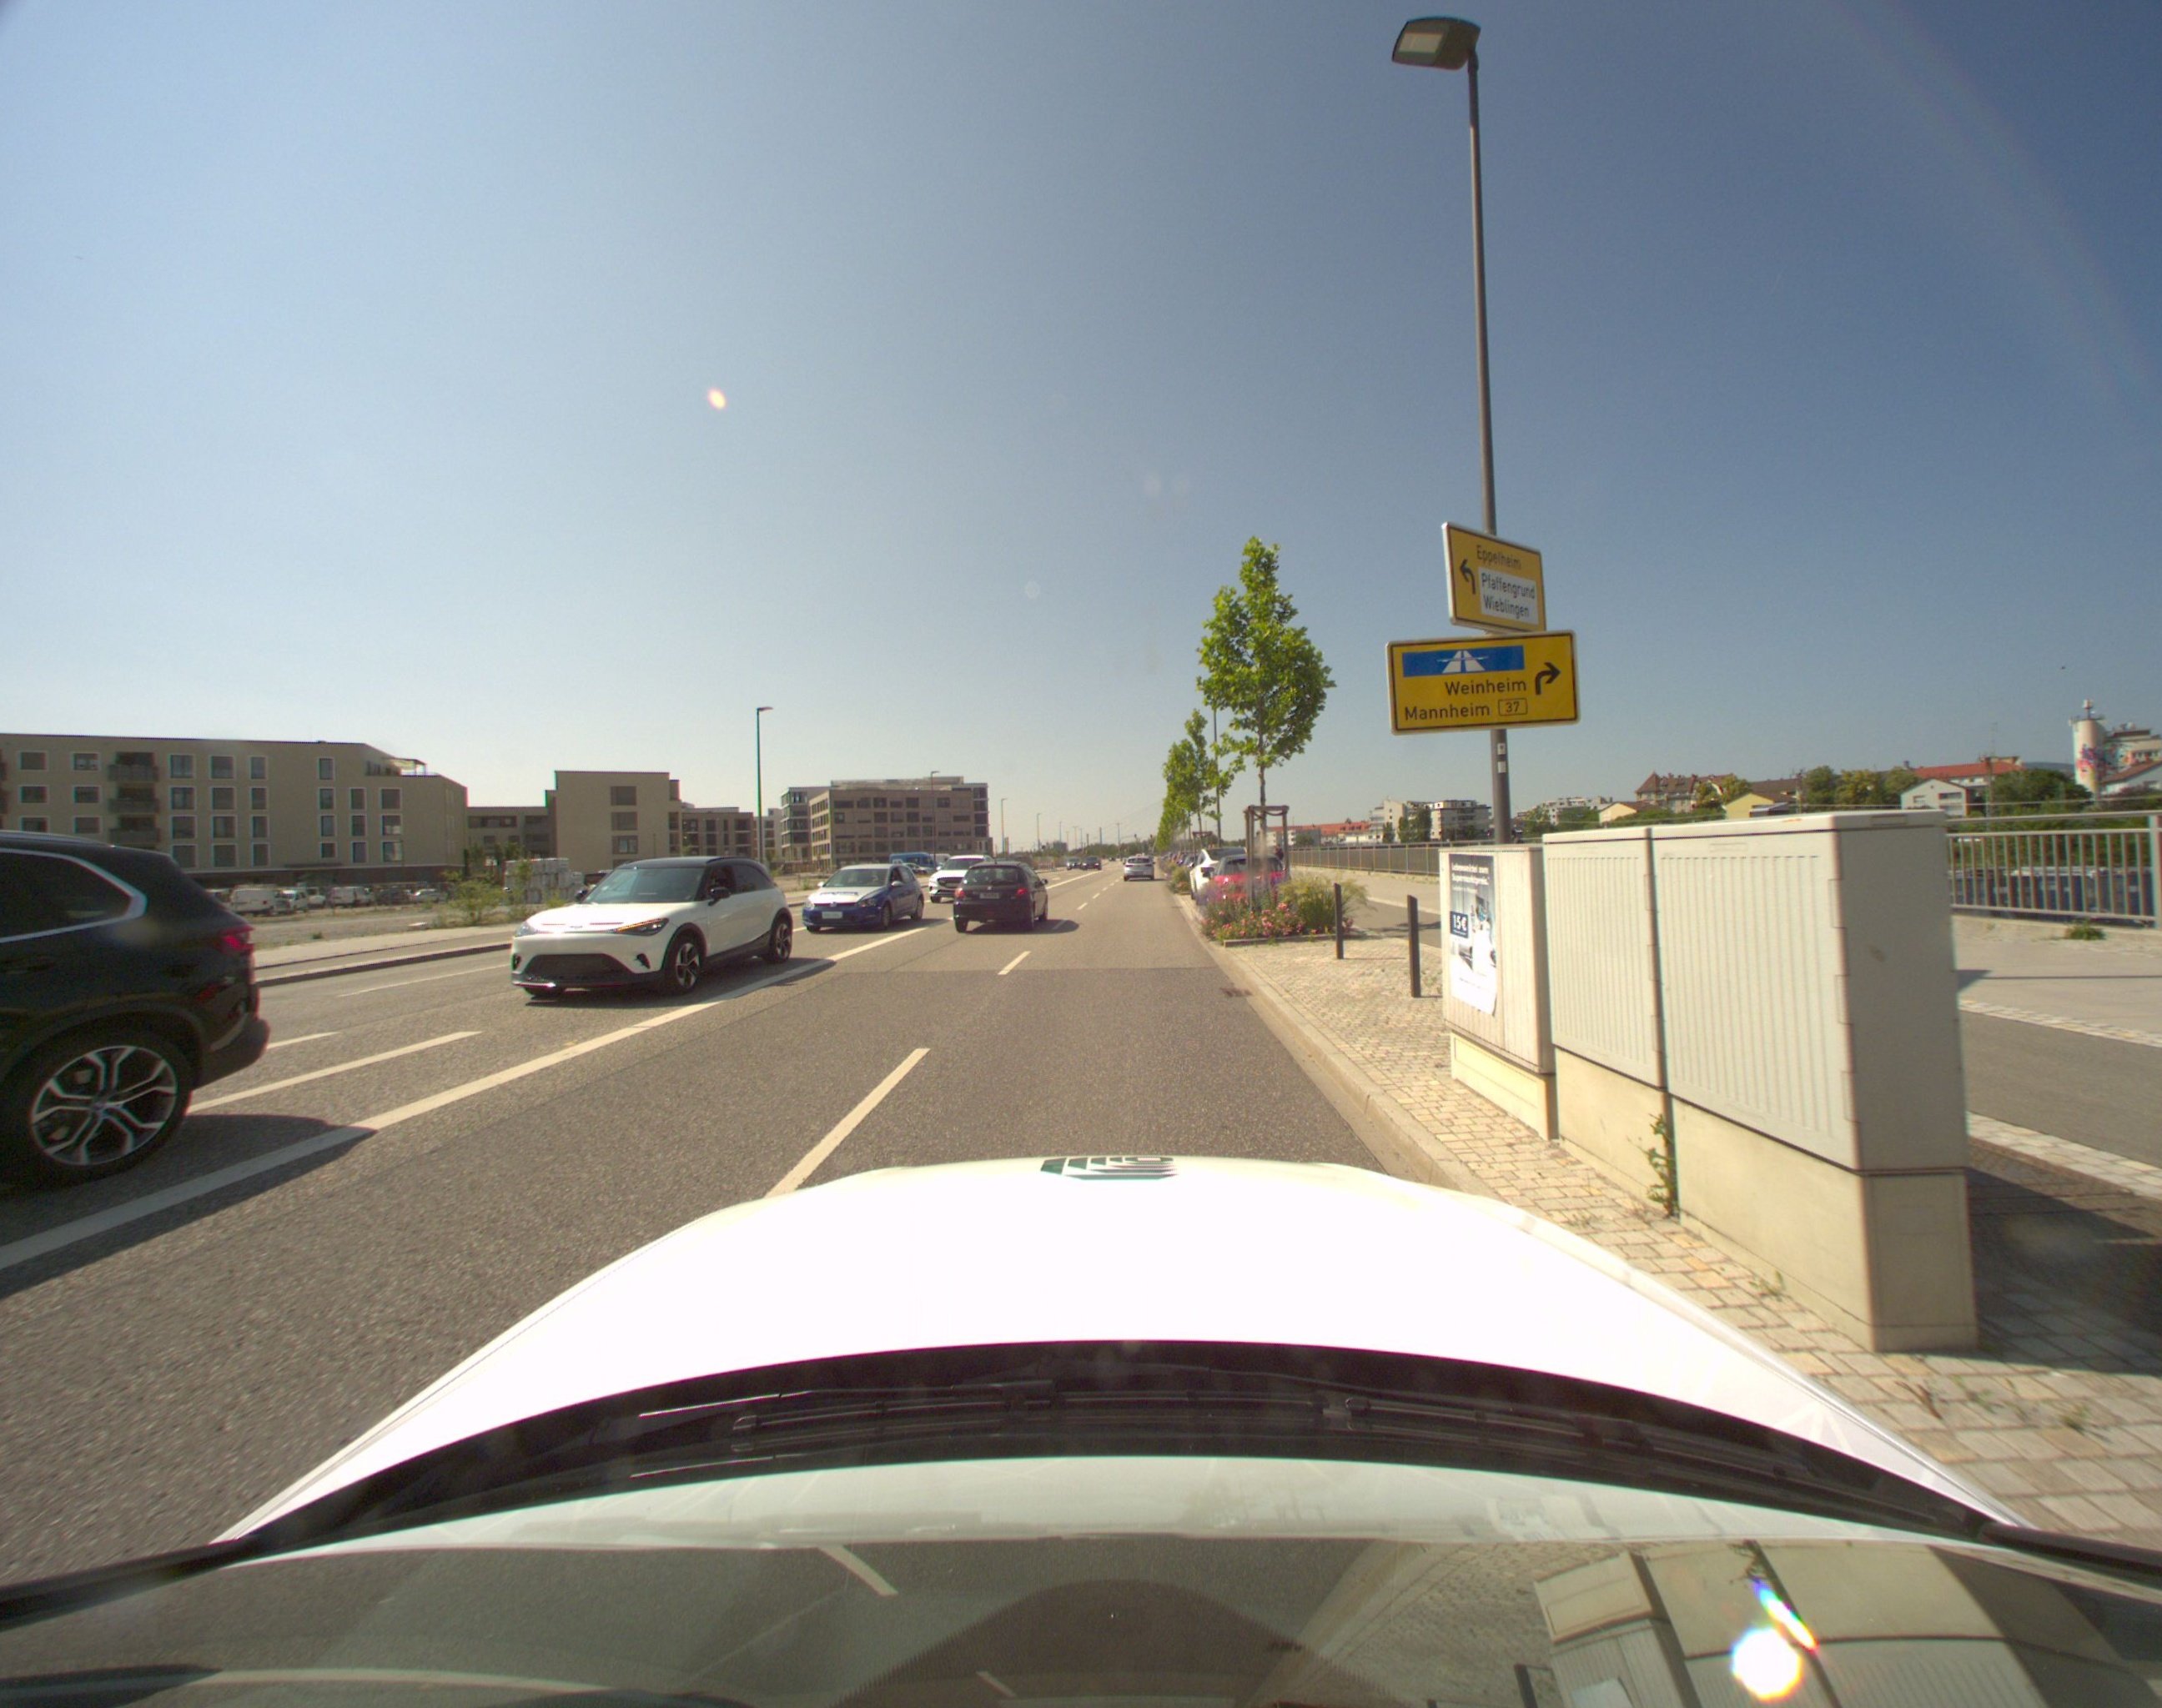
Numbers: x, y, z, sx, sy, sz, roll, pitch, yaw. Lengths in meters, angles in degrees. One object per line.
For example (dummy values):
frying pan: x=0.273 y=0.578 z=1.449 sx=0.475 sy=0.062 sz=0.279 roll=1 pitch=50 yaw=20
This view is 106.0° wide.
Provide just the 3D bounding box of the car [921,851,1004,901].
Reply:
car: x=-4.202 y=0.748 z=29.686 sx=1.904 sy=1.650 sz=4.737 roll=-1 pitch=-1 yaw=5

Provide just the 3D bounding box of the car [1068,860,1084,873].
car: x=-0.614 y=1.514 z=98.490 sx=1.787 sy=1.416 sz=4.000 roll=0 pitch=-2 yaw=1

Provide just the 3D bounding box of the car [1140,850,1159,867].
car: x=6.701 y=0.431 z=79.450 sx=1.769 sy=1.569 sz=4.007 roll=-1 pitch=-2 yaw=7

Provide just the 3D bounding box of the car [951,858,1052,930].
car: x=-1.636 y=0.819 z=17.998 sx=1.612 sy=1.416 sz=3.731 roll=-1 pitch=-1 yaw=4

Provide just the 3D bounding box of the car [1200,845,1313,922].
car: x=3.789 y=0.595 z=18.266 sx=1.984 sy=1.519 sz=4.005 roll=-1 pitch=0 yaw=5

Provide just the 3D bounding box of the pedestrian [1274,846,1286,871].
pedestrian: x=13.733 y=0.285 z=56.272 sx=0.728 sy=1.705 sz=0.652 roll=-1 pitch=-2 yaw=5

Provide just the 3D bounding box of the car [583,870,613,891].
car: x=-45.514 y=2.486 z=76.801 sx=2.003 sy=1.849 sz=3.968 roll=-1 pitch=0 yaw=-24

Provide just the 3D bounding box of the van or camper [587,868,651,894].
van or camper: x=-50.962 y=2.933 z=89.927 sx=5.956 sy=2.559 sz=1.914 roll=-2 pitch=-1 yaw=-36

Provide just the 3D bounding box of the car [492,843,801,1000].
car: x=-5.394 y=0.725 z=10.832 sx=1.771 sy=1.682 sz=4.101 roll=0 pitch=0 yaw=2

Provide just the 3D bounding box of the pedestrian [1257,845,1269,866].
pedestrian: x=14.625 y=0.105 z=65.485 sx=0.777 sy=1.705 sz=0.743 roll=-1 pitch=-1 yaw=5

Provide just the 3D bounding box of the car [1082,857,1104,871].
car: x=1.264 y=1.067 z=85.064 sx=1.778 sy=1.398 sz=4.579 roll=-1 pitch=-1 yaw=6

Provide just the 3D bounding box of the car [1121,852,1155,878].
car: x=3.437 y=0.652 z=48.362 sx=1.768 sy=1.442 sz=4.008 roll=-1 pitch=-1 yaw=7

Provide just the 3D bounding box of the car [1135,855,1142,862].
car: x=15.082 y=1.158 z=212.651 sx=1.846 sy=1.650 sz=4.005 roll=0 pitch=-1 yaw=5

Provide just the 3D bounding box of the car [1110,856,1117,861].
car: x=8.677 y=1.254 z=216.329 sx=1.696 sy=1.352 sz=4.462 roll=-3 pitch=-1 yaw=5

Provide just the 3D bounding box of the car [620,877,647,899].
car: x=-42.889 y=3.231 z=78.117 sx=2.003 sy=1.849 sz=3.968 roll=-1 pitch=0 yaw=-24

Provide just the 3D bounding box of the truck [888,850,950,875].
truck: x=-16.788 y=0.928 z=84.743 sx=5.982 sy=2.543 sz=2.276 roll=0 pitch=-1 yaw=1

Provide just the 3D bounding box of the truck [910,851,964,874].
truck: x=-16.258 y=0.929 z=91.921 sx=5.543 sy=2.363 sz=2.277 roll=-3 pitch=-1 yaw=3

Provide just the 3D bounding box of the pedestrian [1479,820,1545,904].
pedestrian: x=8.775 y=0.167 z=16.618 sx=0.747 sy=1.609 sz=0.950 roll=-5 pitch=-1 yaw=4

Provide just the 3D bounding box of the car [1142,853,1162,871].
car: x=6.926 y=0.815 z=79.813 sx=1.786 sy=1.750 sz=4.002 roll=-1 pitch=-2 yaw=2

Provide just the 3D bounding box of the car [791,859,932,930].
car: x=-4.945 y=0.866 z=19.028 sx=1.777 sy=1.421 sz=4.288 roll=-1 pitch=0 yaw=5

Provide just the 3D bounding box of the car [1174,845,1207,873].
car: x=6.949 y=0.294 z=51.827 sx=1.899 sy=1.616 sz=4.556 roll=-2 pitch=0 yaw=6

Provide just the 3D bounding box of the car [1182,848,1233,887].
car: x=5.299 y=0.531 z=34.551 sx=1.899 sy=1.479 sz=4.165 roll=-3 pitch=0 yaw=6

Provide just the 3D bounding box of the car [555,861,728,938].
car: x=-10.777 y=1.048 z=20.361 sx=1.985 sy=1.706 sz=4.003 roll=0 pitch=-1 yaw=3

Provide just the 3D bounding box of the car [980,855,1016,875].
car: x=-5.915 y=0.815 z=58.222 sx=1.885 sy=1.415 sz=3.602 roll=-1 pitch=-2 yaw=5

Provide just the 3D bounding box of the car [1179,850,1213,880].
car: x=6.091 y=0.549 z=43.483 sx=1.612 sy=1.479 sz=3.830 roll=-2 pitch=0 yaw=6

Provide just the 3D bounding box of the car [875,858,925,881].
car: x=-16.474 y=1.431 z=74.100 sx=3.960 sy=1.904 sz=1.833 roll=-3 pitch=-1 yaw=12

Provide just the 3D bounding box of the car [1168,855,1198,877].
car: x=7.355 y=0.868 z=59.030 sx=1.598 sy=1.491 sz=3.818 roll=-4 pitch=-1 yaw=0

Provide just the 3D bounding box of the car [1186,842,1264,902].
car: x=4.281 y=0.541 z=24.943 sx=1.864 sy=1.627 sz=4.881 roll=-1 pitch=-1 yaw=4

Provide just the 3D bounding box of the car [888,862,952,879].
car: x=-15.419 y=1.585 z=77.992 sx=5.628 sy=1.474 sz=2.108 roll=-1 pitch=-1 yaw=2

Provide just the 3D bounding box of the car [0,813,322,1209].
car: x=-5.906 y=0.705 z=2.855 sx=1.931 sy=1.789 sz=4.659 roll=-1 pitch=-1 yaw=3

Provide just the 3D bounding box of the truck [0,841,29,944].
truck: x=-32.895 y=1.086 z=21.630 sx=6.610 sy=2.826 sz=2.604 roll=-1 pitch=-1 yaw=2

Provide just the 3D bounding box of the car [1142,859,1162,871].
car: x=8.079 y=1.297 z=92.835 sx=1.629 sy=1.310 sz=3.994 roll=-1 pitch=-1 yaw=-4
